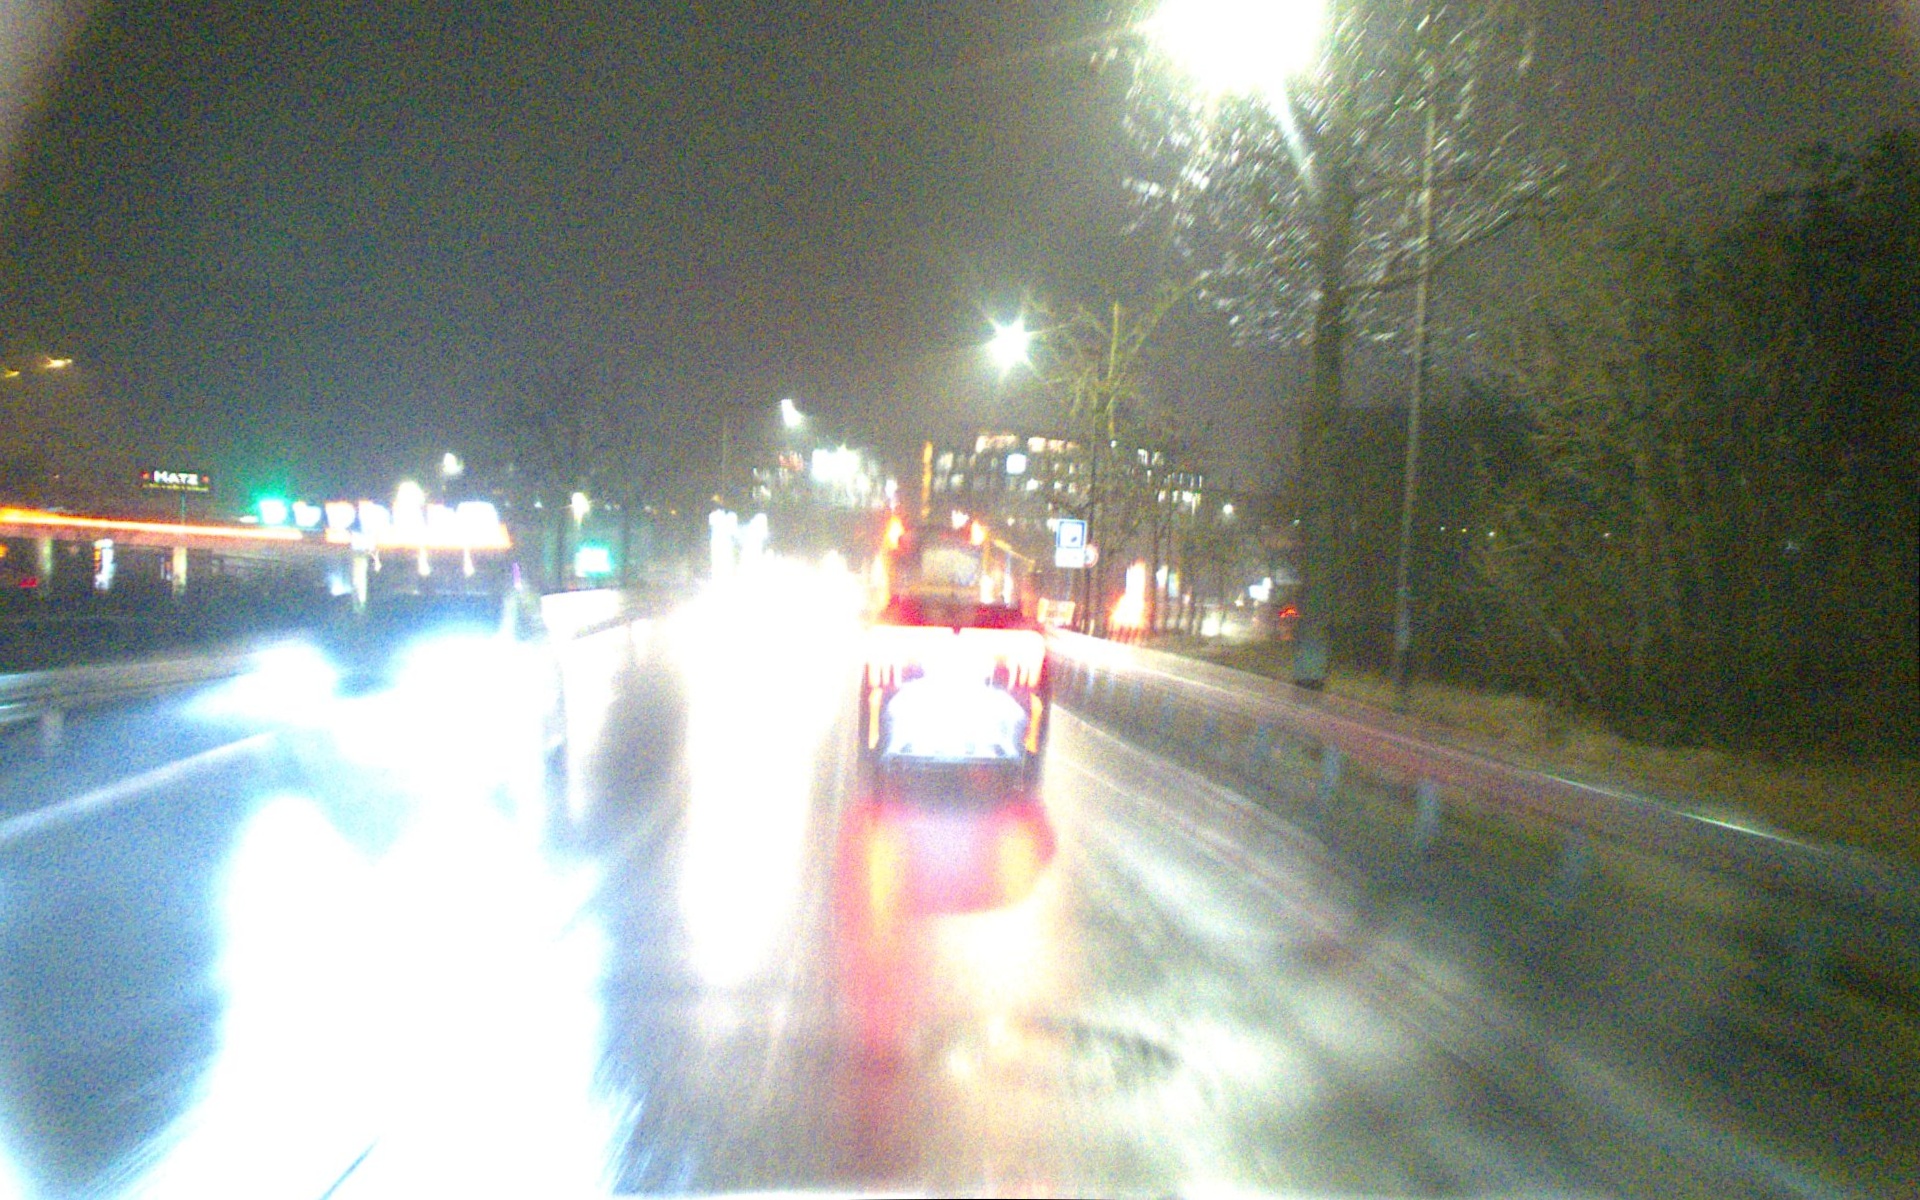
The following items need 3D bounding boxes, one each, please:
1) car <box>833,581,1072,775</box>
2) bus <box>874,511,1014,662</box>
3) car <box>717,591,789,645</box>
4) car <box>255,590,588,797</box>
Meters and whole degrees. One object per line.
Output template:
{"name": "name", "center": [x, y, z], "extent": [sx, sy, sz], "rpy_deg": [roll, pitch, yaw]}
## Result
{"name": "car", "center": [-0.009, 0.629, 15.800], "extent": [1.952, 1.551, 4.001], "rpy_deg": [1, 1, 1]}
{"name": "bus", "center": [-0.196, -0.326, 40.533], "extent": [2.980, 3.268, 9.053], "rpy_deg": [0, 0, 2]}
{"name": "car", "center": [-6.057, 0.497, 48.726], "extent": [1.788, 1.427, 4.033], "rpy_deg": [3, 1, -3]}
{"name": "car", "center": [-4.365, 0.668, 14.094], "extent": [1.725, 1.456, 4.323], "rpy_deg": [2, 0, -5]}
